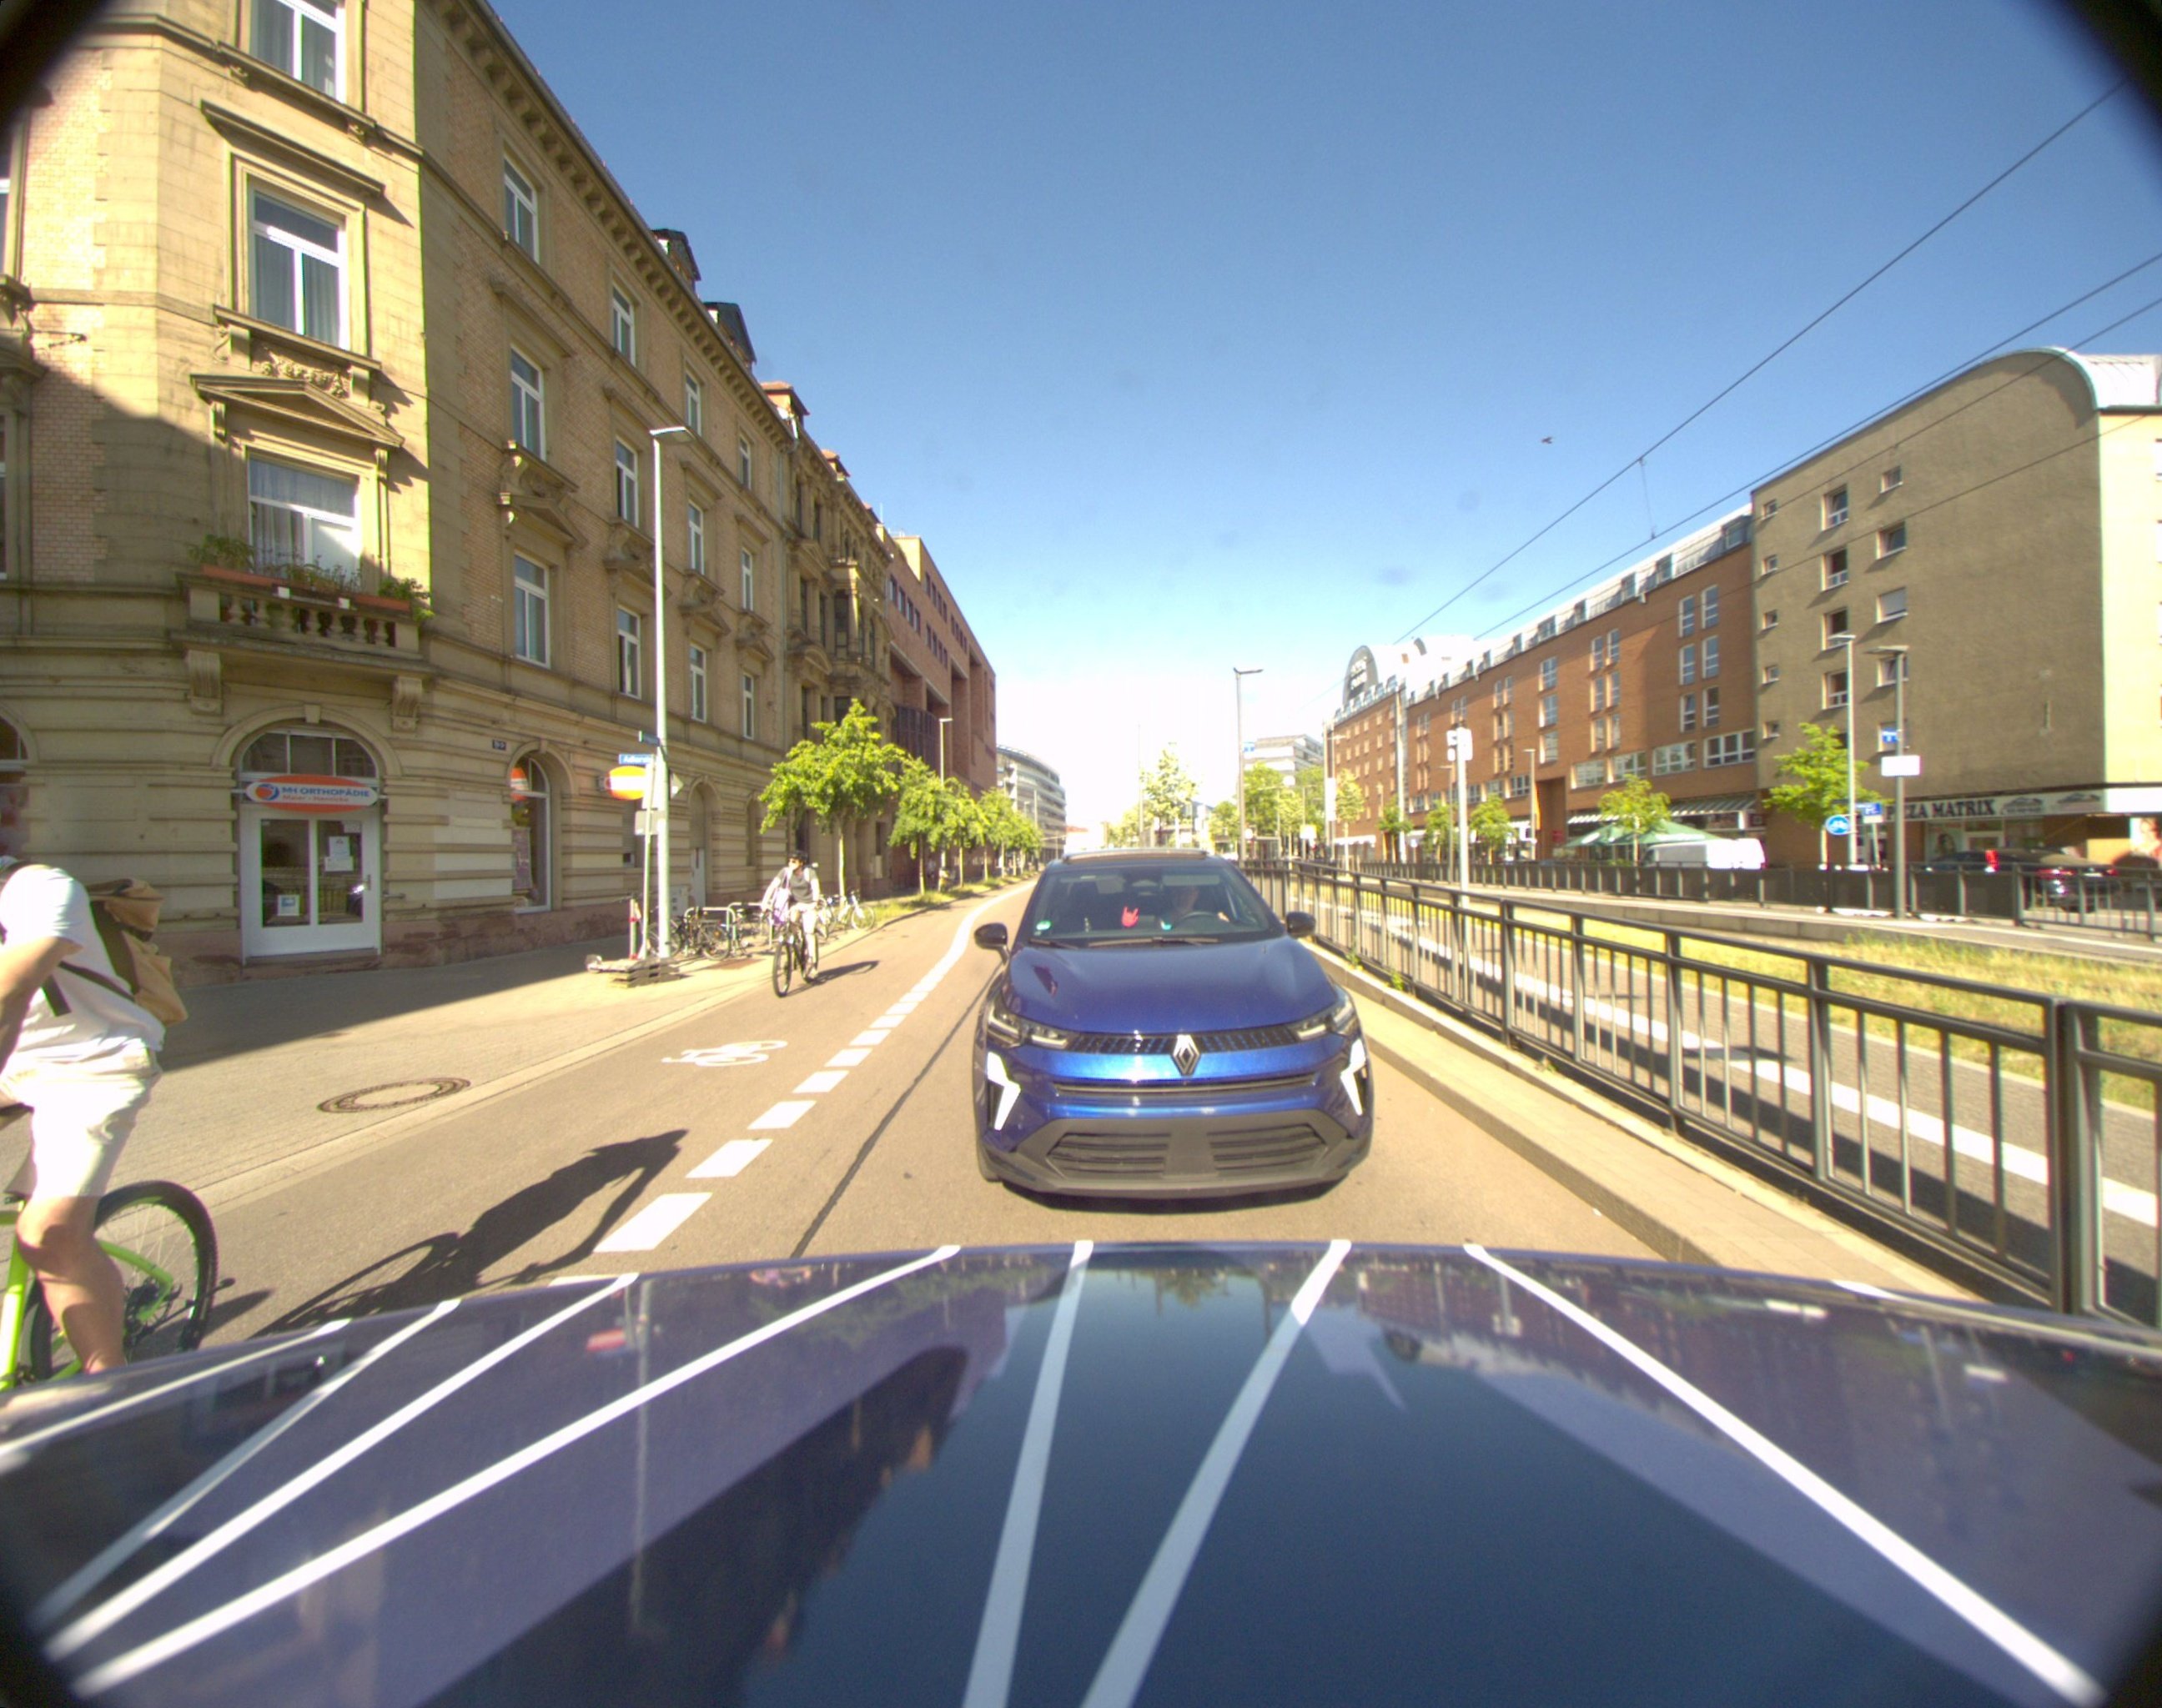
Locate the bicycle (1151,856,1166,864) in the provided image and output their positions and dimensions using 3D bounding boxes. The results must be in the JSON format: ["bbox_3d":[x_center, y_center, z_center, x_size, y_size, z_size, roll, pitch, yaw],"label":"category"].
[{"bbox_3d":[11.122,0.864,108.599,2.044,1.013,0.646,-1,0,2],"label":"bicycle"}]

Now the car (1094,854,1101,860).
[{"bbox_3d":[4.018,0.688,186.339,1.745,1.543,4.000,-1,0,0],"label":"car"}]

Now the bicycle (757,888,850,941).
[{"bbox_3d":[-6.314,1.361,17.369,1.678,1.055,1.134,3,1,-1],"label":"bicycle"}]

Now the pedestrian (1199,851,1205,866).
[{"bbox_3d":[16.294,0.609,102.204,0.821,1.878,0.769,-1,0,9],"label":"pedestrian"}]

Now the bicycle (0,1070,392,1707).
[{"bbox_3d":[-2.607,1.275,1.676,0.726,1.000,1.950,-2,0,-14],"label":"bicycle"}]

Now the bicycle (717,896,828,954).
[{"bbox_3d":[-5.941,1.368,14.709,1.876,1.043,0.608,1,1,-4],"label":"bicycle"}]

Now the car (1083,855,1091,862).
[{"bbox_3d":[1.327,1.078,172.433,1.745,1.543,4.000,-1,0,1],"label":"car"}]

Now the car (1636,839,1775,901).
[{"bbox_3d":[25.333,0.573,31.102,1.997,2.283,5.192,-2,1,9],"label":"car"}]

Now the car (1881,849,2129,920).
[{"bbox_3d":[24.209,0.709,20.172,1.699,1.630,3.999,-2,1,-1],"label":"car"}]

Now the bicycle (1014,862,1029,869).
[{"bbox_3d":[-9.538,1.832,121.786,2.275,1.118,0.850,-2,0,-3],"label":"bicycle"}]

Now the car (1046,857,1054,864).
[{"bbox_3d":[-7.056,1.378,174.334,1.745,1.543,4.000,-1,0,0],"label":"car"}]

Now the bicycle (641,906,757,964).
[{"bbox_3d":[-6.584,1.396,13.131,1.717,0.920,0.497,-1,1,1],"label":"bicycle"}]

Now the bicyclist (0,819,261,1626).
[{"bbox_3d":[-2.609,0.762,1.613,0.701,1.647,0.976,-2,0,-14],"label":"bicyclist"}]

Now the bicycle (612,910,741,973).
[{"bbox_3d":[-6.662,1.428,12.551,1.905,0.906,0.592,1,2,9],"label":"bicycle"}]

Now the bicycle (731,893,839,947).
[{"bbox_3d":[-6.275,1.387,16.223,1.903,1.024,1.030,1,1,-2],"label":"bicycle"}]

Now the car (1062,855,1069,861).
[{"bbox_3d":[-3.835,0.953,189.793,1.745,1.543,4.000,-1,0,1],"label":"car"}]

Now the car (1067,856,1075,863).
[{"bbox_3d":[-2.213,1.200,173.698,1.745,1.543,4.000,-1,0,1],"label":"car"}]

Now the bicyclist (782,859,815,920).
[{"bbox_3d":[-7.687,0.960,20.675,0.579,1.608,0.794,-1,1,-2],"label":"bicyclist"}]

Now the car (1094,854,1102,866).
[{"bbox_3d":[3.551,1.163,159.228,1.758,2.471,4.610,-1,0,1],"label":"car"}]

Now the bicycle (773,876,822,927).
[{"bbox_3d":[-7.690,1.254,20.702,0.579,1.246,2.097,-1,1,-2],"label":"bicycle"}]

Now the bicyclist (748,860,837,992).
[{"bbox_3d":[-3.708,0.897,9.830,0.725,1.595,0.895,-2,0,1],"label":"bicyclist"}]

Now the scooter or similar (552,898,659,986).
[{"bbox_3d":[-6.853,1.263,10.982,1.199,1.191,0.487,-1,0,-4],"label":"scooter or similar"}]

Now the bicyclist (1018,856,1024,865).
[{"bbox_3d":[-9.580,1.115,121.784,0.859,1.413,0.839,-2,0,-3],"label":"bicyclist"}]

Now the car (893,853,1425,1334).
[{"bbox_3d":[0.303,0.841,4.857,1.758,1.576,4.420,-4,0,1],"label":"car"}]

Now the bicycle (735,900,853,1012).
[{"bbox_3d":[-3.687,1.268,9.962,0.725,1.187,1.952,-2,0,1],"label":"bicycle"}]

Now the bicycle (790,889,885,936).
[{"bbox_3d":[-5.985,1.428,18.771,2.062,1.036,0.847,2,1,0],"label":"bicycle"}]
